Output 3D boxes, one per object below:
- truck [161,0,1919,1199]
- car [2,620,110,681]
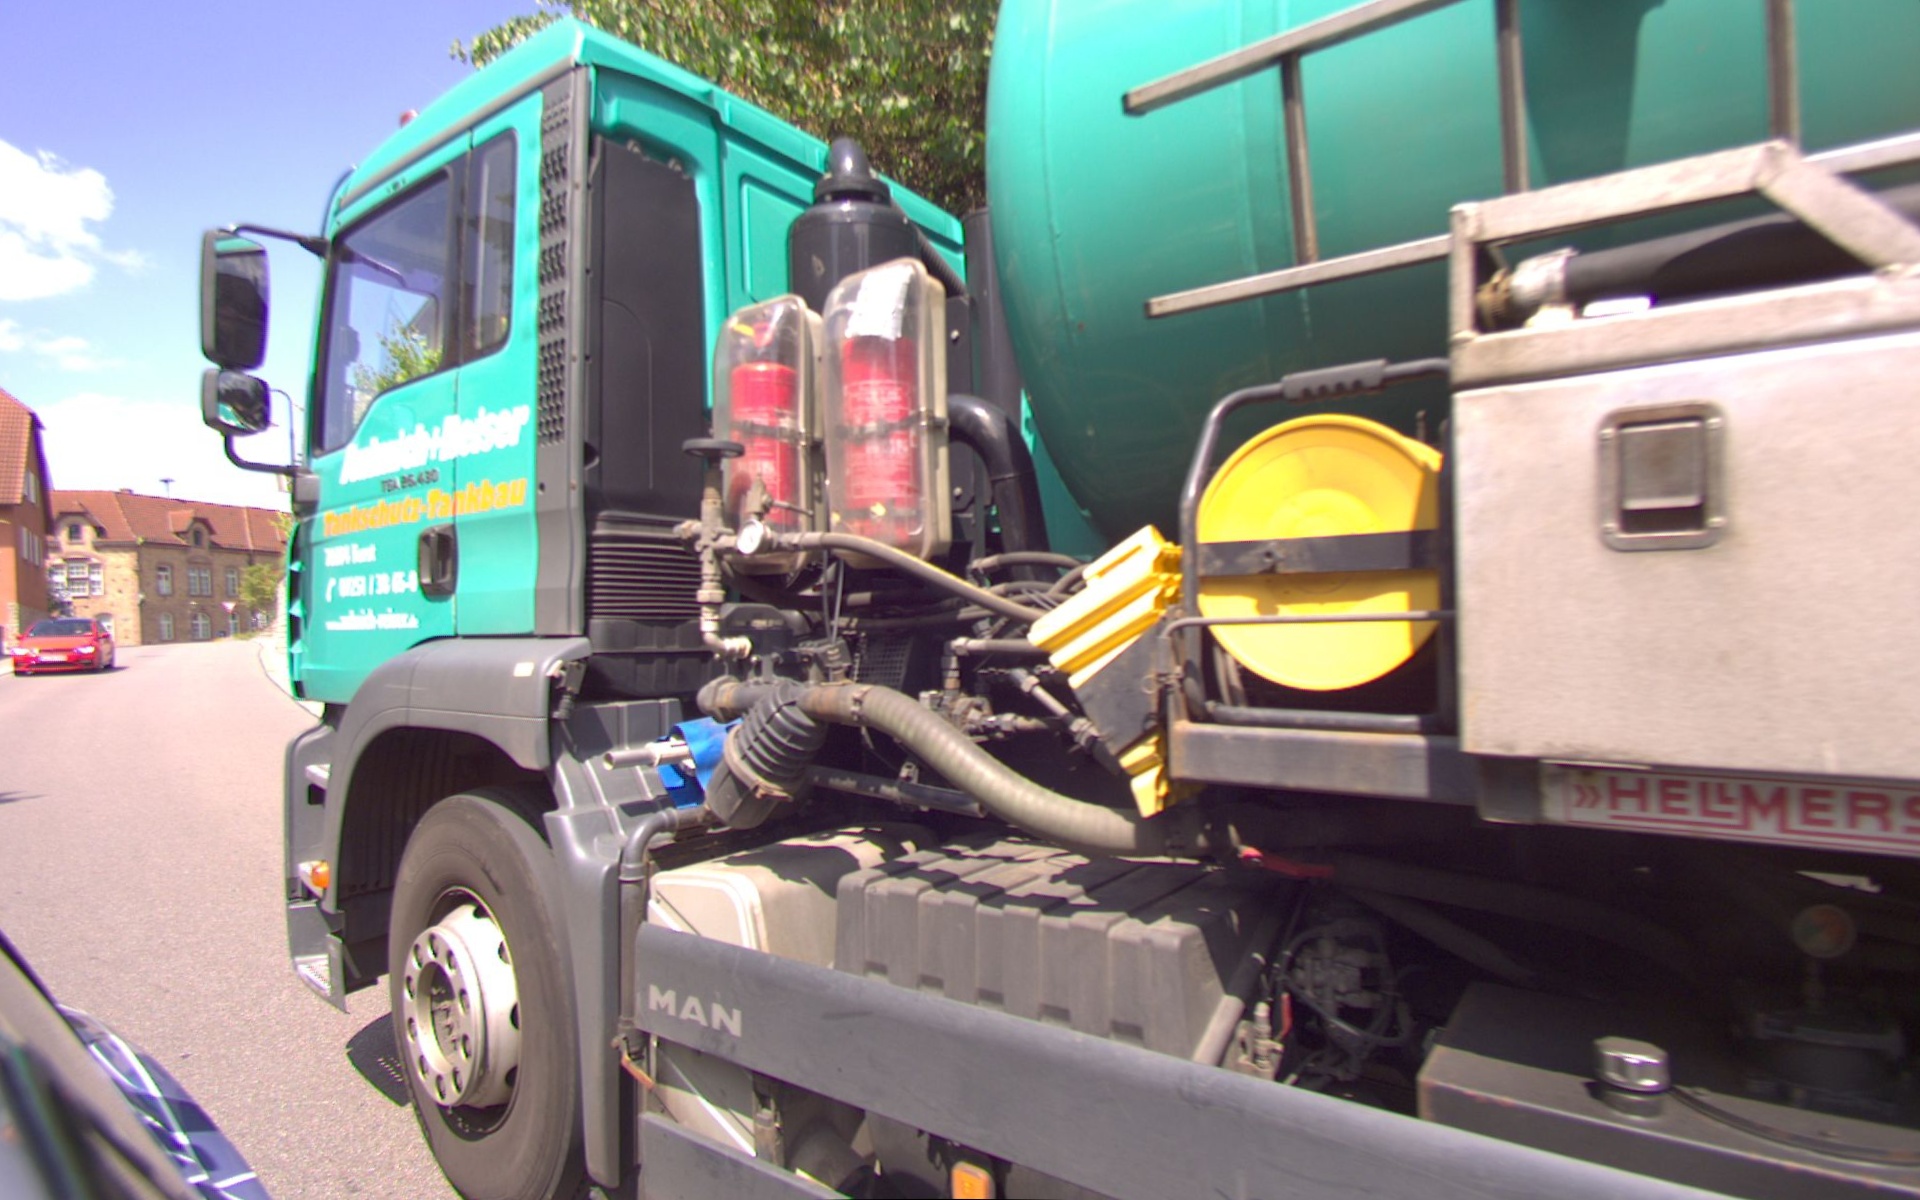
[{"bbox_3d":[2.084,-0.510,1.255,9.549,3.686,2.390,-2,-2,36],"label":"truck"},{"bbox_3d":[-22.979,1.232,25.838,1.643,1.362,3.503,-1,0,-35],"label":"car"}]
